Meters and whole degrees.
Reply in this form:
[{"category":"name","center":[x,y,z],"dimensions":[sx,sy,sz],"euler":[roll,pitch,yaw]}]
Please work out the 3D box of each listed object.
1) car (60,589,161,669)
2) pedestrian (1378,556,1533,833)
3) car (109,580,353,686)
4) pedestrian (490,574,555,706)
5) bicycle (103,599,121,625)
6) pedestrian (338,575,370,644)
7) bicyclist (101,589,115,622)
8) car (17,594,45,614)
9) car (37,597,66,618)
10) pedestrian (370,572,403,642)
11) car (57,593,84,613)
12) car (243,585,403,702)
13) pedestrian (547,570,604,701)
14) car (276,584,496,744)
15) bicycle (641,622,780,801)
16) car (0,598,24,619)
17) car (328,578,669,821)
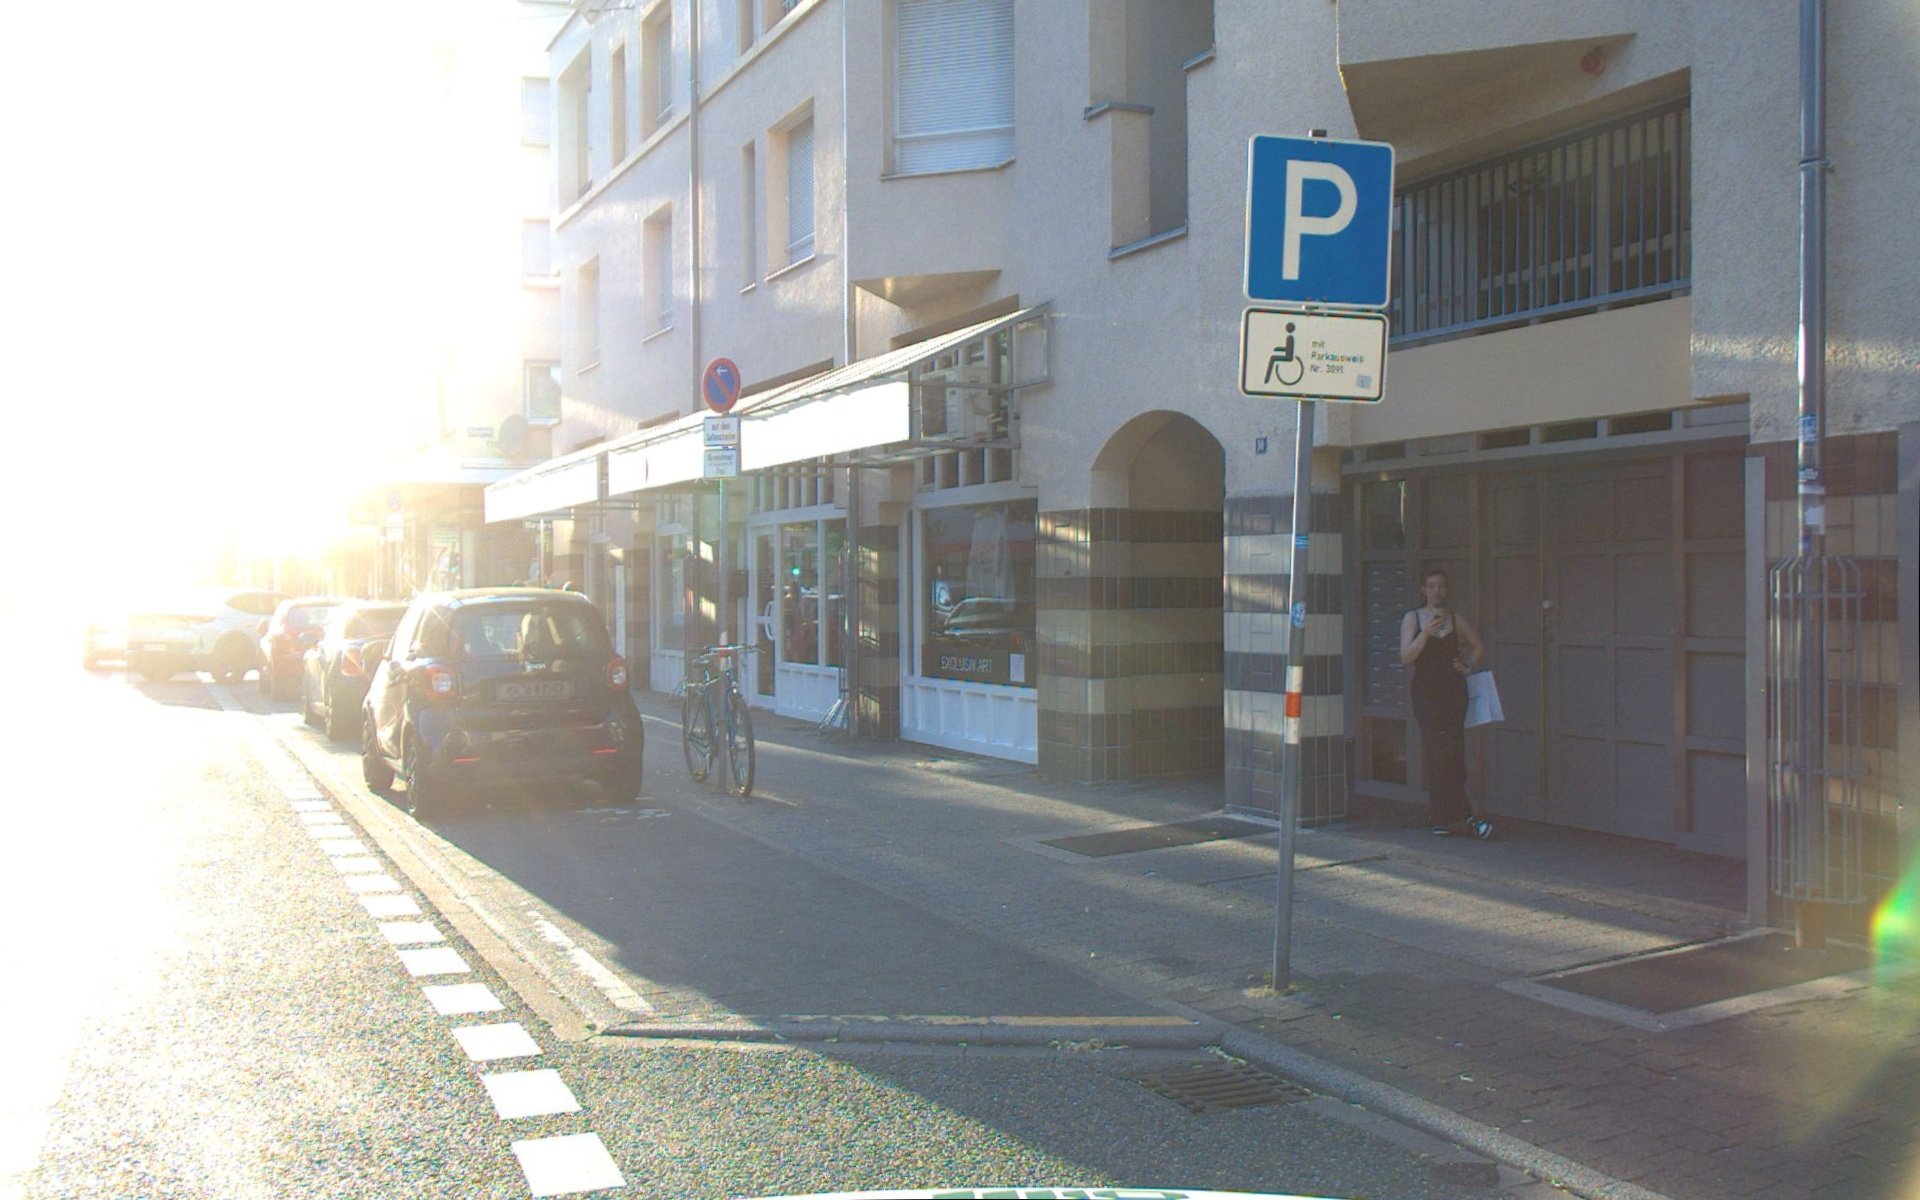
[{"category":"car","center":[-17.351,0.568,33.899],"dimensions":[1.668,1.529,3.756],"euler":[1,0,-25]},{"category":"pedestrian","center":[2.934,0.544,9.831],"dimensions":[0.760,1.600,0.534],"euler":[0,0,0]},{"category":"car","center":[-12.984,0.555,29.801],"dimensions":[1.833,1.727,4.325],"euler":[1,0,11]},{"category":"pedestrian","center":[-5.932,0.518,22.387],"dimensions":[0.623,1.729,1.031],"euler":[-1,1,-28]},{"category":"bicycle","center":[-41.689,0.579,81.330],"dimensions":[0.654,1.264,2.114],"euler":[1,0,-24]},{"category":"pedestrian","center":[-16.500,0.252,45.046],"dimensions":[0.709,1.822,0.661],"euler":[-1,1,-27]},{"category":"bicyclist","center":[-41.801,0.245,81.189],"dimensions":[0.540,1.608,0.797],"euler":[-1,0,-24]},{"category":"car","center":[-74.303,0.304,132.269],"dimensions":[1.669,1.529,3.756],"euler":[-1,1,-25]},{"category":"car","center":[-68.765,0.539,125.214],"dimensions":[1.669,1.529,3.756],"euler":[-1,1,-25]},{"category":"pedestrian","center":[-15.162,0.171,43.727],"dimensions":[0.709,1.822,0.661],"euler":[-1,1,-27]},{"category":"car","center":[-71.376,0.246,132.694],"dimensions":[1.669,1.529,3.756],"euler":[-1,1,-25]},{"category":"car","center":[-9.677,0.588,24.991],"dimensions":[1.770,1.608,3.751],"euler":[-1,1,-29]},{"category":"pedestrian","center":[-5.238,0.468,22.527],"dimensions":[0.553,1.729,0.824],"euler":[-1,0,-28]},{"category":"car","center":[-6.614,0.624,18.817],"dimensions":[1.770,1.608,3.751],"euler":[-1,1,-29]},{"category":"bicycle","center":[-1.960,0.806,12.797],"dimensions":[0.551,1.227,1.962],"euler":[0,1,-24]},{"category":"car","center":[-71.330,0.611,124.025],"dimensions":[1.669,1.529,3.756],"euler":[-1,1,-25]},{"category":"car","center":[-3.806,0.639,13.167],"dimensions":[1.770,1.608,3.929],"euler":[-1,1,-29]}]
